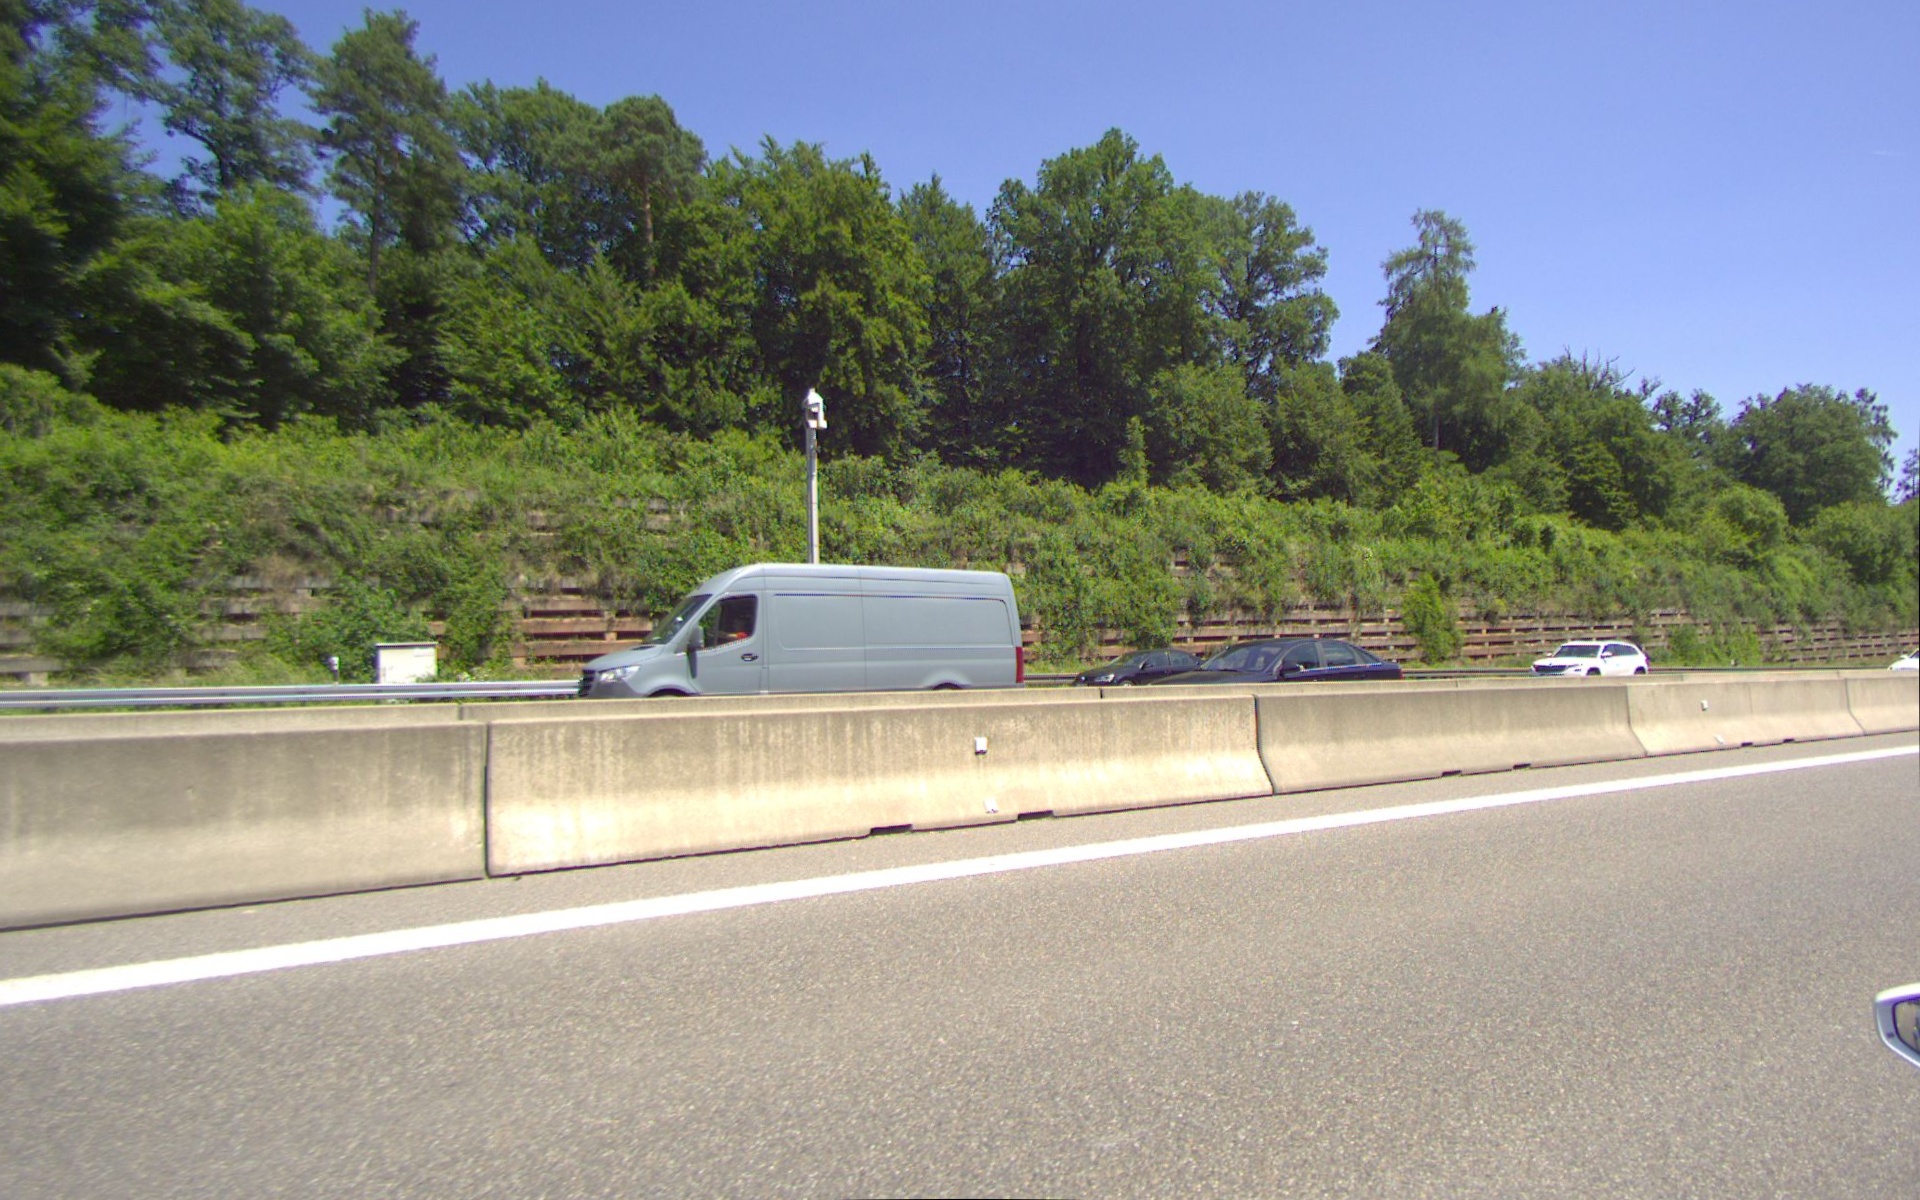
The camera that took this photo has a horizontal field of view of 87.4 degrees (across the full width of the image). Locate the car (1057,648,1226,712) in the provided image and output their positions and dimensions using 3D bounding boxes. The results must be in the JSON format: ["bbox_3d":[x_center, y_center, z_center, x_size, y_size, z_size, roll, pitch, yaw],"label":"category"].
[{"bbox_3d":[5.010,2.138,27.607,4.412,1.626,1.931,1,-3,-30],"label":"car"}]

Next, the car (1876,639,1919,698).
[{"bbox_3d":[28.765,1.948,29.022,5.165,1.626,1.931,1,-3,-30],"label":"car"}]

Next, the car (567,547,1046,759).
[{"bbox_3d":[-2.186,0.801,15.616,7.054,2.718,2.229,1,-3,-30],"label":"car"}]

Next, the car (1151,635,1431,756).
[{"bbox_3d":[5.119,1.375,15.424,4.231,1.626,1.724,1,-3,-30],"label":"car"}]

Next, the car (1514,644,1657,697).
[{"bbox_3d":[20.404,2.246,32.720,4.803,1.626,1.931,1,-3,-30],"label":"car"}]
